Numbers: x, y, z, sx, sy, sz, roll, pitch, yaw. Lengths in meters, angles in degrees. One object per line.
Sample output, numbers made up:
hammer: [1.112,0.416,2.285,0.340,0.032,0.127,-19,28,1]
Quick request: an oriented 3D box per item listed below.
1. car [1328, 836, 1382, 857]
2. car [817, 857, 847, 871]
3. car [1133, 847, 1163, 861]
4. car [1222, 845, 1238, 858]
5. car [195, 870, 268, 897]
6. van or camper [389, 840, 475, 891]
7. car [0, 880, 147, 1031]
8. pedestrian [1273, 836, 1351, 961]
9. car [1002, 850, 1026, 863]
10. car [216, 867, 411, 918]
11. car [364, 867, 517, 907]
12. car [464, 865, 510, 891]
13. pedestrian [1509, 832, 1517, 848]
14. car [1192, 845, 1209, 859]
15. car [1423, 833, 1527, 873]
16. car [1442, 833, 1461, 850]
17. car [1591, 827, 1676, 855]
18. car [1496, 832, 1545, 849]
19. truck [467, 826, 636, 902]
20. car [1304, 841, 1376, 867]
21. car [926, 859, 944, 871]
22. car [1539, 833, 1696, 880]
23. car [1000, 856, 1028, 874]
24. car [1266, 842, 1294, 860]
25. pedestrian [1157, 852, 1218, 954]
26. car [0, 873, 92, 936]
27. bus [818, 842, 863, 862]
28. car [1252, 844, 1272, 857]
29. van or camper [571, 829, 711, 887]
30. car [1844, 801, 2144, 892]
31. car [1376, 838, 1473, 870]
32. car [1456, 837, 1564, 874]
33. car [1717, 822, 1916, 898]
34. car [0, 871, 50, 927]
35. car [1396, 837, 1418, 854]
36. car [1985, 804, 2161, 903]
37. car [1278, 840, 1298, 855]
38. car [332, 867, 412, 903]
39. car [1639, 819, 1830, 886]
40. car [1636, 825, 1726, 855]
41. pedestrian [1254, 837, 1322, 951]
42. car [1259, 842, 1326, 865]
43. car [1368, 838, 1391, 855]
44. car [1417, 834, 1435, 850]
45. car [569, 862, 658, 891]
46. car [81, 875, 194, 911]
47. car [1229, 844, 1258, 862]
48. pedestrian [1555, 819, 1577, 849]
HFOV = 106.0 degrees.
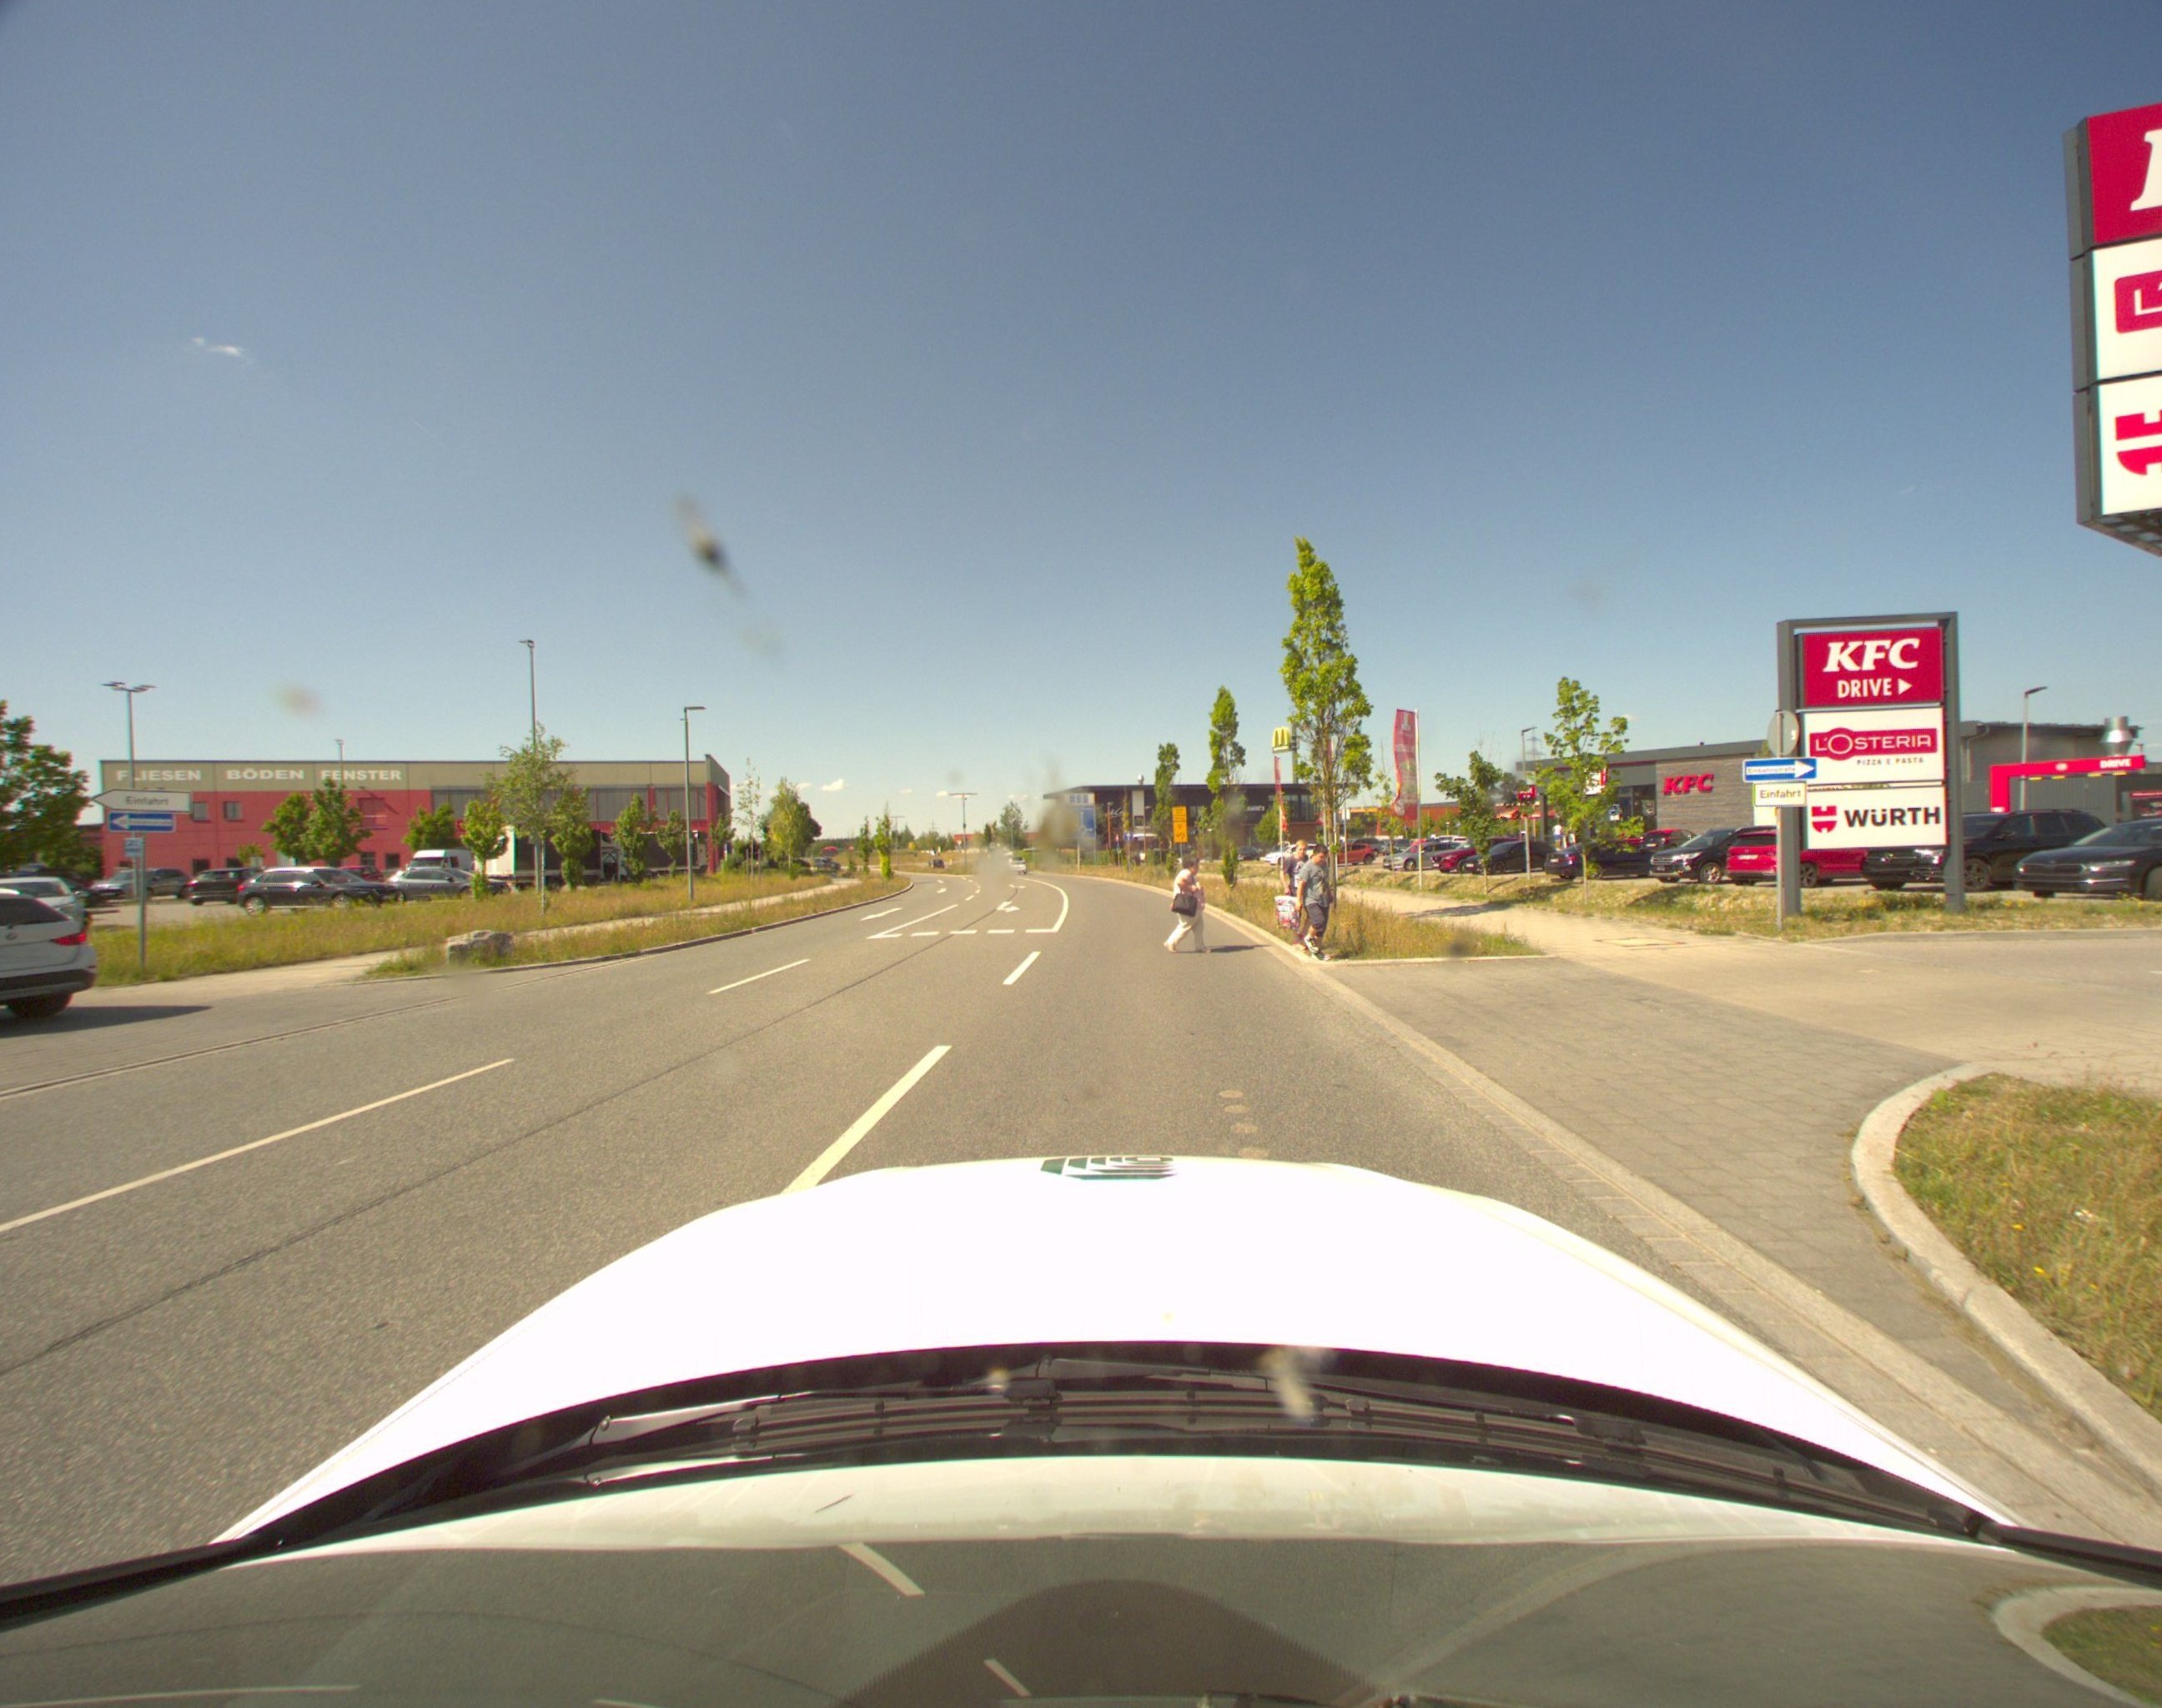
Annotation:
car: [23.719,-0.678,70.518,4.171,1.635,1.779,-2,0,-21]
car: [-34.984,1.399,114.592,4.370,1.794,1.970,-3,1,42]
car: [7.315,0.034,89.601,1.799,1.434,3.973,-2,0,-20]
car: [17.756,-0.272,96.796,1.781,1.434,4.013,-2,0,11]
car: [-55.115,1.898,52.945,1.667,1.614,4.054,-2,0,-21]
van or camper: [-45.322,0.794,57.113,2.438,3.271,7.187,-2,0,-19]
car: [-13.541,1.168,9.022,4.196,1.547,1.918,-2,0,2]
pedestrian: [3.150,0.582,11.173,0.806,1.628,0.866,-1,0,1]
car: [-11.891,0.444,144.937,3.969,2.013,1.836,-2,0,3]
car: [-25.668,1.269,27.366,4.567,1.458,1.835,-2,0,-5]
car: [-25.582,1.290,32.653,4.415,1.383,1.972,-2,0,-5]
car: [-42.340,1.679,58.141,1.667,1.671,4.054,-2,0,-21]
pedestrian: [34.359,-1.101,64.775,0.381,1.240,0.290,-2,0,-21]
car: [14.158,-0.238,96.204,1.781,1.604,4.012,-2,0,11]
car: [19.158,-0.065,39.665,4.148,1.665,1.865,-3,1,-6]
car: [41.895,-1.435,92.077,1.770,1.757,4.192,-2,0,23]
car: [32.832,-0.762,48.390,4.571,1.431,1.856,-3,1,-21]
car: [42.819,-1.302,79.366,4.116,1.522,1.802,-2,0,27]
truck: [-26.668,0.425,41.562,2.300,3.464,7.523,-2,0,14]
car: [17.216,-0.023,54.148,4.209,1.490,1.861,-3,1,-13]
car: [-18.243,1.326,101.690,1.622,1.434,3.767,-2,0,-20]
car: [19.297,0.084,29.440,4.384,1.449,1.794,-3,1,5]
car: [-5.663,0.931,68.362,1.619,1.434,3.773,-2,0,-15]
car: [17.934,-0.277,73.289,1.770,1.462,4.192,-2,0,23]
pedestrian: [1.592,0.715,12.323,0.790,1.470,0.949,-1,0,1]
car: [-28.378,1.319,22.008,4.562,1.512,1.849,-2,0,42]
bus: [-45.785,-0.469,155.735,2.769,3.078,12.245,-2,2,12]
car: [21.708,-0.433,97.742,1.777,1.513,4.021,-2,0,20]
van or camper: [-29.140,0.242,54.334,7.704,3.468,2.543,-2,0,-15]
car: [20.790,-0.183,18.669,4.972,1.734,1.937,-3,1,-4]
car: [18.686,-0.011,44.329,4.554,1.490,1.863,-3,1,-9]
car: [19.555,0.057,37.212,4.156,1.449,1.784,-3,1,-12]
car: [19.832,0.129,22.016,4.411,1.734,1.783,-3,1,-13]
car: [-36.707,1.528,26.448,1.837,1.823,4.355,-2,0,-18]
car: [31.153,-0.827,77.788,1.770,1.451,4.192,-2,0,23]
car: [19.426,-0.091,14.619,4.397,1.566,1.992,-3,1,-4]
car: [25.289,-0.817,99.563,1.777,1.702,4.021,-2,0,22]
car: [-38.864,1.647,44.765,1.839,1.773,4.351,-2,0,-21]
car: [19.780,-0.063,24.763,4.394,1.734,1.790,-3,1,-2]
car: [33.733,-0.774,45.763,4.571,1.431,1.856,-3,1,-21]
pedestrian: [3.073,0.581,12.155,0.798,1.629,0.805,-1,0,1]
car: [15.956,-0.052,61.541,4.530,1.490,1.861,-3,1,-13]
car: [28.260,-0.742,76.925,1.770,1.451,4.192,-2,0,23]
car: [38.476,-1.340,90.774,1.770,1.757,4.192,-2,0,23]
car: [-28.515,1.367,49.821,4.376,1.552,1.828,-2,0,-16]
car: [-47.740,1.933,41.334,1.839,1.562,4.351,-2,0,-21]
car: [14.396,-0.116,72.025,1.682,1.462,4.192,-2,0,23]
pedestrian: [33.255,-1.390,55.836,0.915,2.013,0.886,-2,0,-16]
